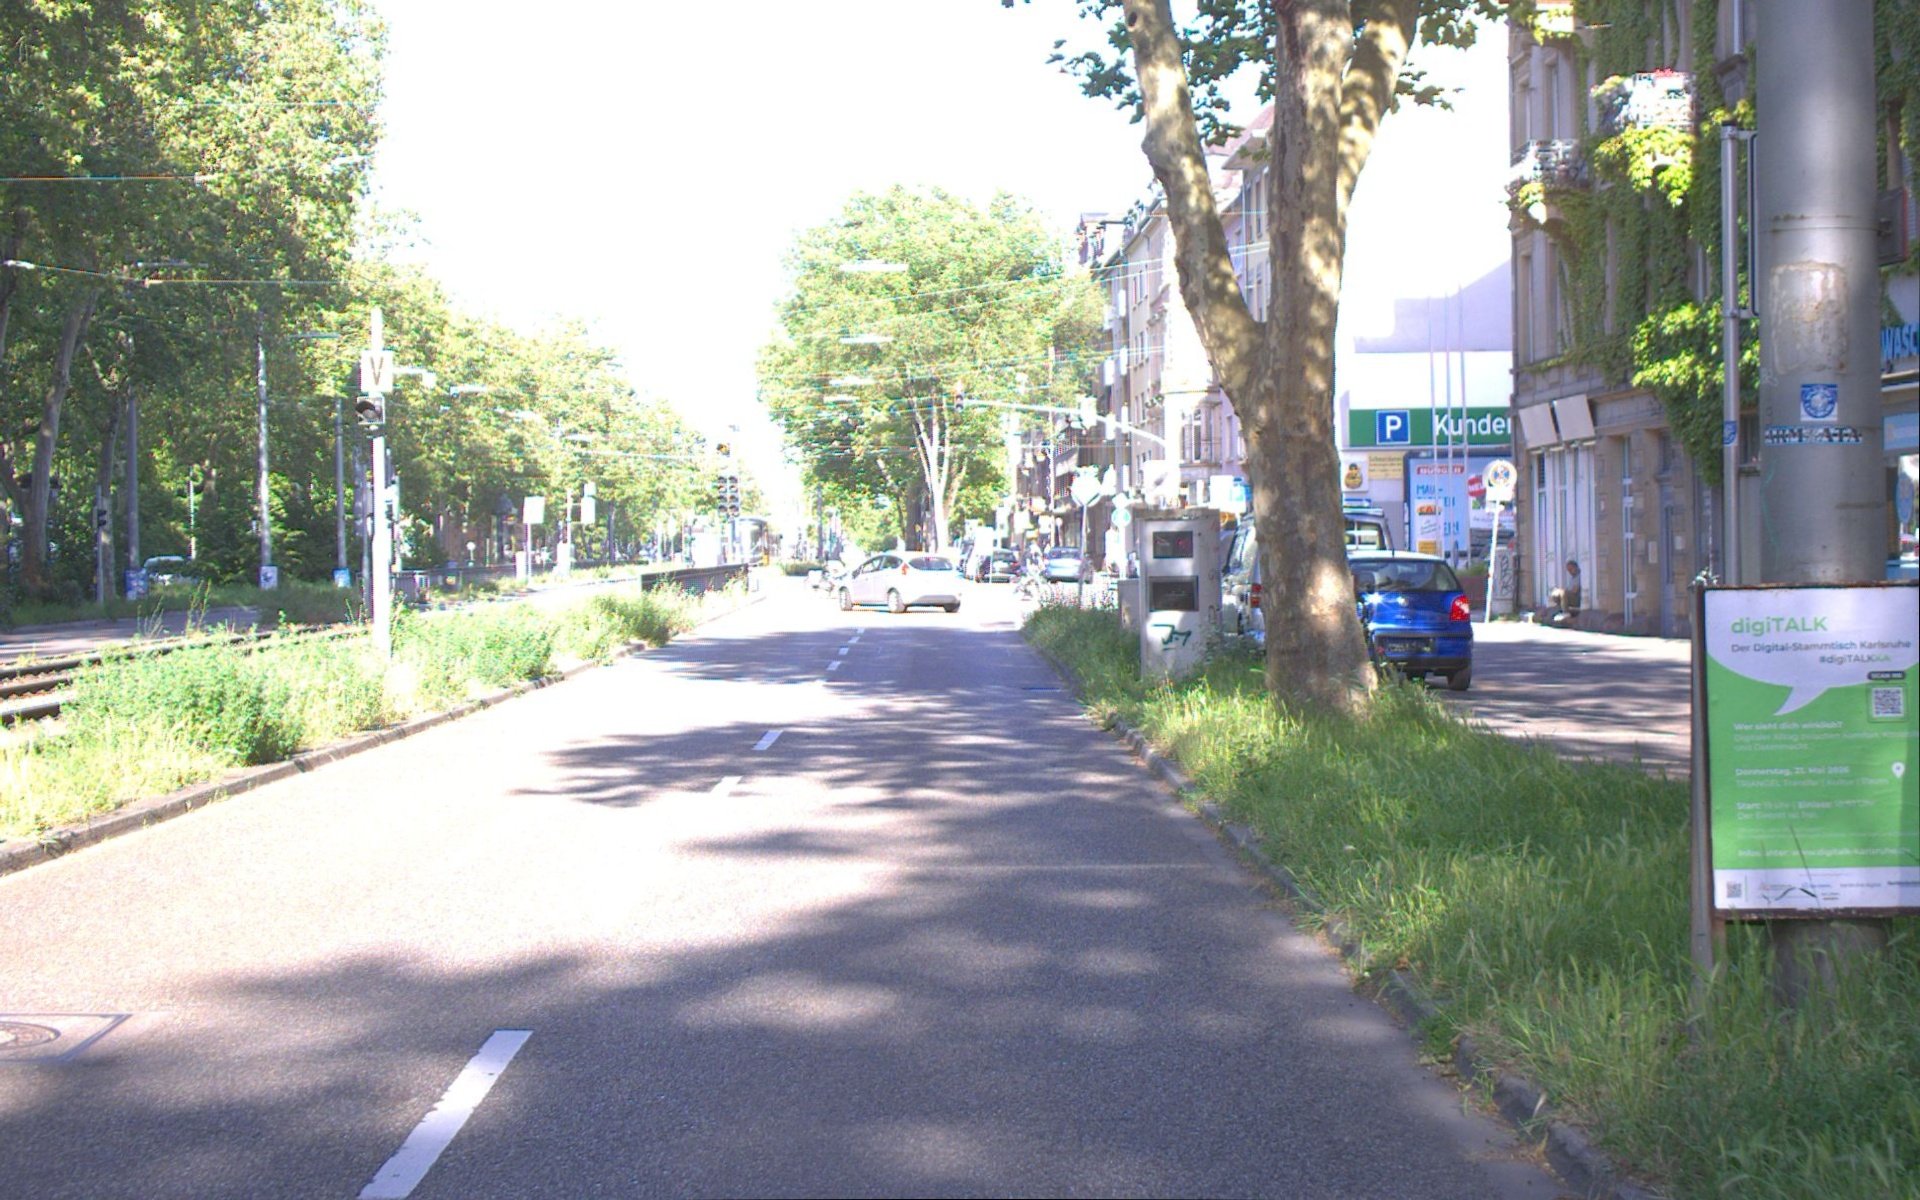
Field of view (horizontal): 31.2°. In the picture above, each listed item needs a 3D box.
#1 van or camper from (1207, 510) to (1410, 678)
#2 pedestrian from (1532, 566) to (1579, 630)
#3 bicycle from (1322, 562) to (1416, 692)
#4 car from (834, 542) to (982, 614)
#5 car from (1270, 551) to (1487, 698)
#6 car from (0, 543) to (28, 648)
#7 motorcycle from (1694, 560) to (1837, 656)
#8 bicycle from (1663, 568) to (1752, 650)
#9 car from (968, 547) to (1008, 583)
[{"bbox_3d":[4.230,-0.112,42.489,1.839,1.956,5.127,0,1,-2],"label":"van or camper"},{"bbox_3d":[10.788,-0.035,62.314,0.707,1.147,0.740,-1,1,0],"label":"pedestrian"},{"bbox_3d":[3.276,0.202,27.626,0.588,0.987,1.450,-1,1,1],"label":"bicycle"},{"bbox_3d":[-1.272,-0.542,81.513,2.021,1.656,4.001,-1,1,-25],"label":"car"},{"bbox_3d":[4.496,0.230,37.369,1.682,1.508,3.668,0,1,-4],"label":"car"},{"bbox_3d":[-18.117,-0.019,60.613,1.993,1.864,4.873,-3,1,0],"label":"car"},{"bbox_3d":[11.235,0.100,47.970,0.557,1.264,1.894,1,1,-45],"label":"motorcycle"},{"bbox_3d":[10.874,0.118,50.082,0.887,1.130,2.399,-1,1,3],"label":"bicycle"},{"bbox_3d":[1.170,-1.500,146.236,1.683,1.504,3.667,0,1,0],"label":"car"}]
